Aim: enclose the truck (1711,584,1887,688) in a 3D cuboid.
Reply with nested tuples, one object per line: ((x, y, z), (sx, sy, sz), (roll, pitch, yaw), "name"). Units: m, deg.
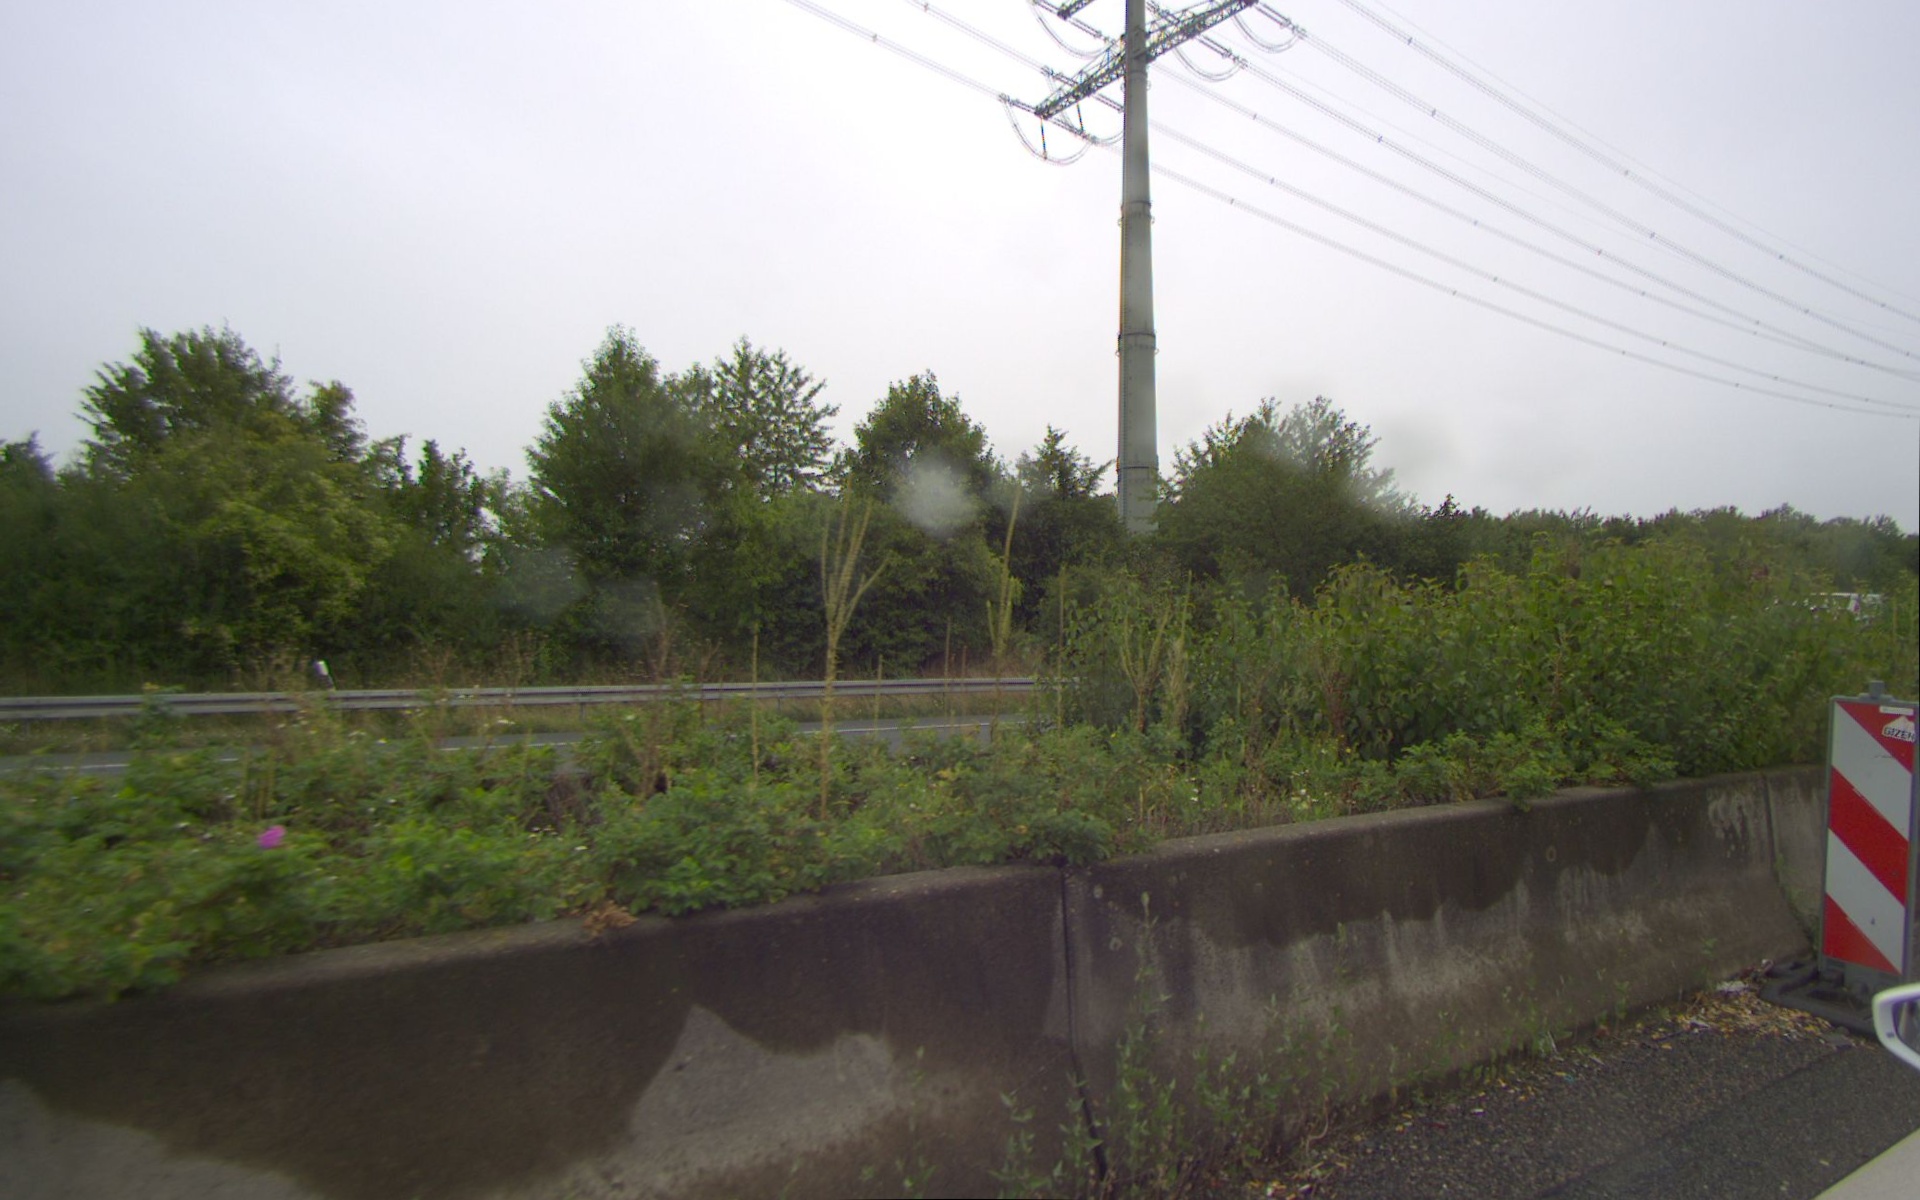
((28.663, 1.289, 34.246), (6.969, 3.269, 2.251), (2, -4, -30), "truck")
